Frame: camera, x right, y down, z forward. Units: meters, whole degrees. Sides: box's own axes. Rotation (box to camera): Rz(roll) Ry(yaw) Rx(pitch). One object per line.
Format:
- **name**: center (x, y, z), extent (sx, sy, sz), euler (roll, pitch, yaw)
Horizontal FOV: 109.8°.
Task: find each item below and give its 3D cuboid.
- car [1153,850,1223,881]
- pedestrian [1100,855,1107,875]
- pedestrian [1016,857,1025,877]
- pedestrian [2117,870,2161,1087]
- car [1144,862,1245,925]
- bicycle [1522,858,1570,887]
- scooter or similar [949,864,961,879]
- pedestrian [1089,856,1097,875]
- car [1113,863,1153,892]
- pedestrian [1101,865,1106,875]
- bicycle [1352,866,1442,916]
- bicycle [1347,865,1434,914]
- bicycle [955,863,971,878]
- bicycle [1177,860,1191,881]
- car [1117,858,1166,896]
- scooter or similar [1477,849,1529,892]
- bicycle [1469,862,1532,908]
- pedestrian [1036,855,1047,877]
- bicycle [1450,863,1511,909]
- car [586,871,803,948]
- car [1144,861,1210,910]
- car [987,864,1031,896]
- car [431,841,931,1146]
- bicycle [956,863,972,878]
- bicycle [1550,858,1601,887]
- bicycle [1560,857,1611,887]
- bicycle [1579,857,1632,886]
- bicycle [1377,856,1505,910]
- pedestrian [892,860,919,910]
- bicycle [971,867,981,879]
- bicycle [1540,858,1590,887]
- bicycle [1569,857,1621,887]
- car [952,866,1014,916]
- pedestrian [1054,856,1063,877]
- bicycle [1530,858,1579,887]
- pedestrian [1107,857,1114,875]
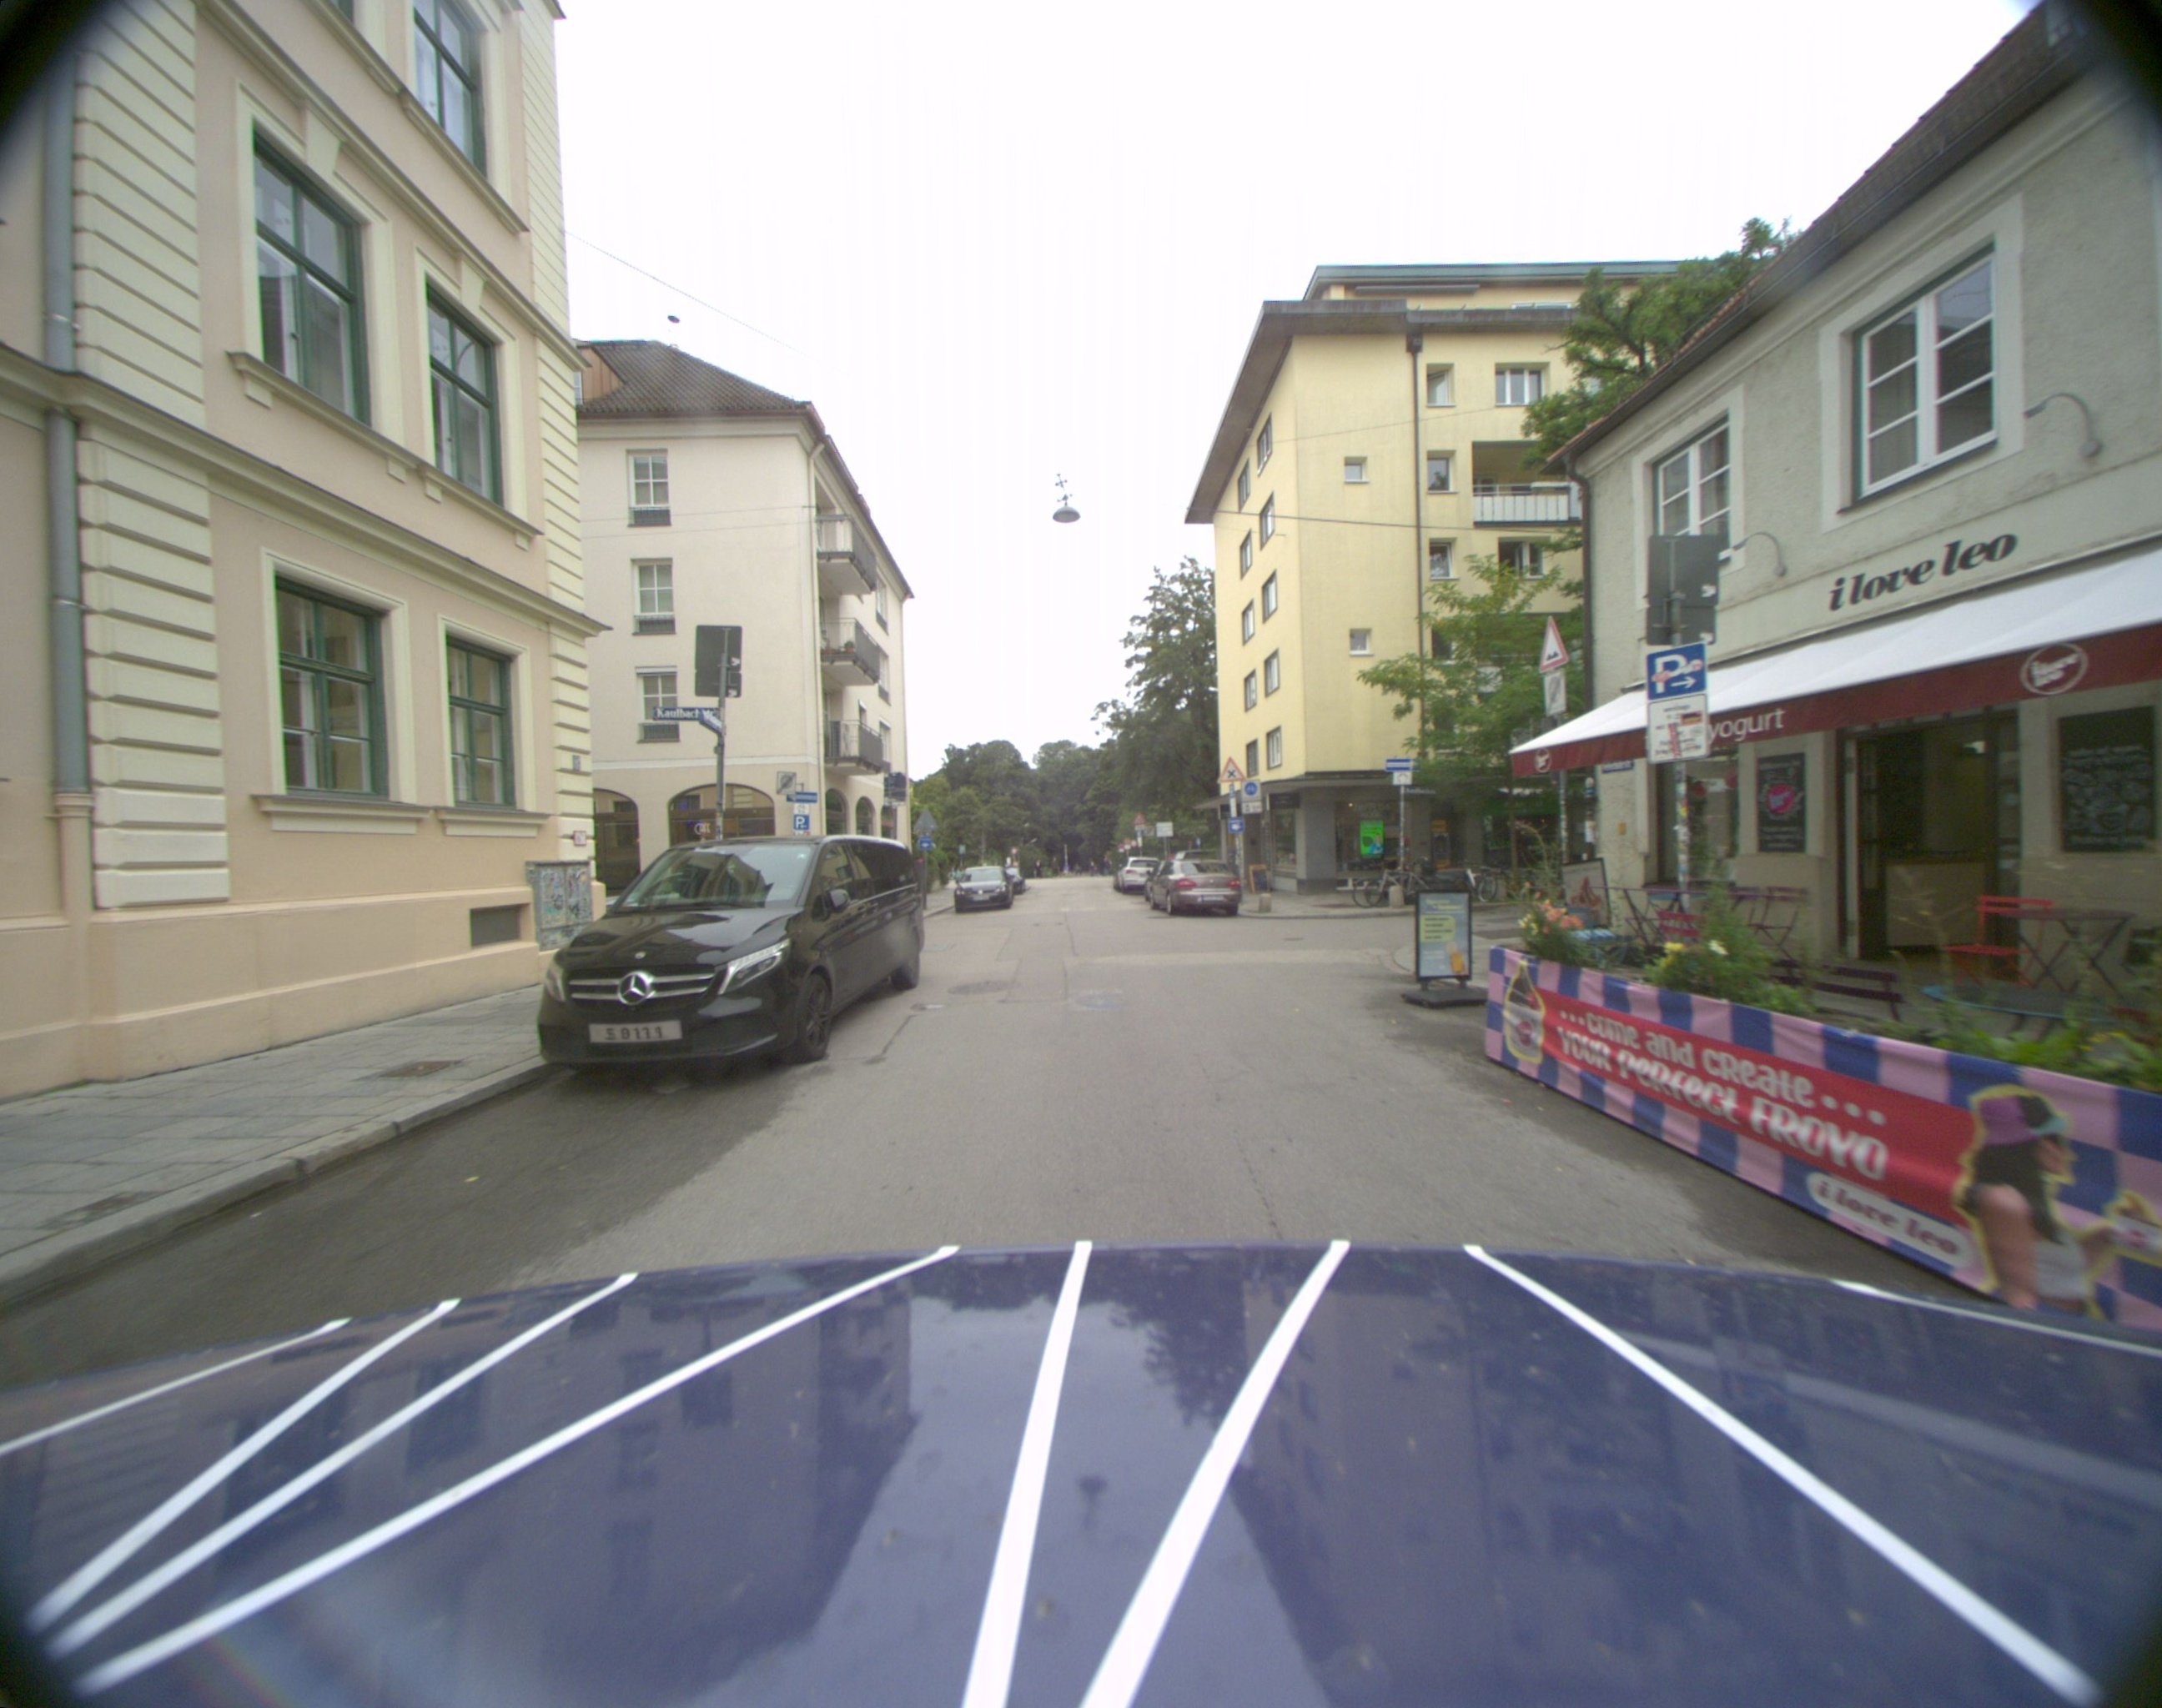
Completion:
- **car**: center (7.557, 0.758, 53.789), extent (4.423, 1.990, 1.933), euler (-2, 2, -16)
- **pedestrian**: center (2.173, 1.100, 73.323), extent (0.708, 1.892, 0.804), euler (0, -1, -1)
- **pedestrian**: center (-5.326, 1.152, 66.991), extent (0.653, 1.676, 0.976), euler (-3, -2, 0)
- **pedestrian**: center (6.843, 0.747, 4.367), extent (0.805, 1.283, 0.693), euler (-1, 2, -1)
- **car**: center (2.920, 0.959, 20.584), extent (1.684, 1.462, 4.948), euler (0, 0, -4)
- **bicycle**: center (13.611, 0.529, 22.292), extent (0.293, 0.776, 1.722), euler (-1, 1, -3)
- **scooter or similar**: center (-10.400, 1.431, 62.746), extent (1.114, 1.205, 0.324), euler (-2, -1, 36)
- **pedestrian**: center (1.156, 1.148, 74.690), extent (0.751, 1.822, 1.115), euler (0, -1, -1)
- **car**: center (2.645, 1.202, 39.507), extent (1.750, 1.402, 4.097), euler (0, 0, -1)
- **pedestrian**: center (3.896, 2.724, 131.576), extent (0.686, 1.662, 0.774), euler (-3, -2, 0)
- **bicycle**: center (7.220, 0.845, 17.373), extent (1.822, 1.028, 0.392), euler (-3, 0, 2)
- **bicycle**: center (7.231, 0.835, 17.777), extent (1.822, 1.028, 0.392), euler (-3, 0, 2)
- **bicycle**: center (-10.063, 1.411, 64.735), extent (0.202, 1.184, 1.658), euler (-1, -2, 40)
- **bicycle**: center (6.074, 0.971, 44.978), extent (0.563, 1.203, 1.854), euler (-2, 0, 2)
- **car**: center (2.637, 1.025, 33.956), extent (1.807, 1.574, 4.338), euler (0, -1, -1)
- **scooter or similar**: center (12.394, 0.455, 22.337), extent (1.206, 1.194, 0.996), euler (-3, 2, -42)
- **bicycle**: center (9.798, 0.707, 17.796), extent (0.381, 0.960, 1.715), euler (-3, 2, -4)
- **pedestrian**: center (-3.145, 0.947, 60.493), extent (0.686, 1.662, 0.774), euler (-3, -2, 0)
- **bicycle**: center (9.303, 0.721, 17.759), extent (0.381, 0.960, 1.715), euler (-3, 2, -4)
- **car**: center (-8.817, 1.239, 17.592), extent (4.099, 1.595, 1.755), euler (-1, -1, -3)
- **car**: center (3.095, 0.970, 25.199), extent (1.683, 1.463, 4.097), euler (0, 0, 0)
- **car**: center (-3.628, 1.281, 38.896), extent (1.807, 1.402, 4.656), euler (-2, 0, -1)
- **car**: center (-3.034, 0.882, 7.418), extent (2.002, 1.853, 5.253), euler (-2, 0, 0)
- **bicycle**: center (-9.921, 1.408, 64.597), extent (0.169, 1.191, 1.658), euler (-1, -2, 40)
- **bicycle**: center (14.508, 0.519, 22.347), extent (0.293, 0.776, 1.722), euler (-1, 1, -3)
- **bicycle**: center (14.814, 0.514, 22.365), extent (0.293, 0.776, 1.722), euler (-1, 1, -3)
- **bicycle**: center (15.413, 0.511, 22.389), extent (0.293, 0.776, 1.722), euler (-1, 1, -3)
- **bicycle**: center (9.175, 0.726, 19.458), extent (2.849, 1.205, 0.817), euler (-3, 2, 2)
- **pedestrian**: center (-6.010, 1.056, 26.095), extent (0.707, 1.652, 0.880), euler (-1, 2, -2)
- **bicycle**: center (-9.204, 1.645, 66.468), extent (0.307, 1.032, 1.656), euler (0, -2, 14)
- **bicycle**: center (14.206, 0.530, 22.330), extent (0.293, 0.776, 1.722), euler (-1, 1, -3)
- **bicycle**: center (15.110, 0.514, 22.379), extent (0.293, 0.776, 1.722), euler (-1, 1, -3)
- **car**: center (-3.203, 1.178, 25.623), extent (1.680, 1.416, 4.202), euler (-4, 0, -3)
- **pedestrian**: center (-1.789, 1.002, 60.664), extent (0.639, 1.662, 0.774), euler (-3, -2, 0)
- **bicycle**: center (13.888, 0.525, 22.312), extent (0.293, 0.776, 1.722), euler (-1, 1, -3)
- **pedestrian**: center (2.851, 1.145, 73.338), extent (0.634, 1.770, 0.801), euler (0, -1, -1)
